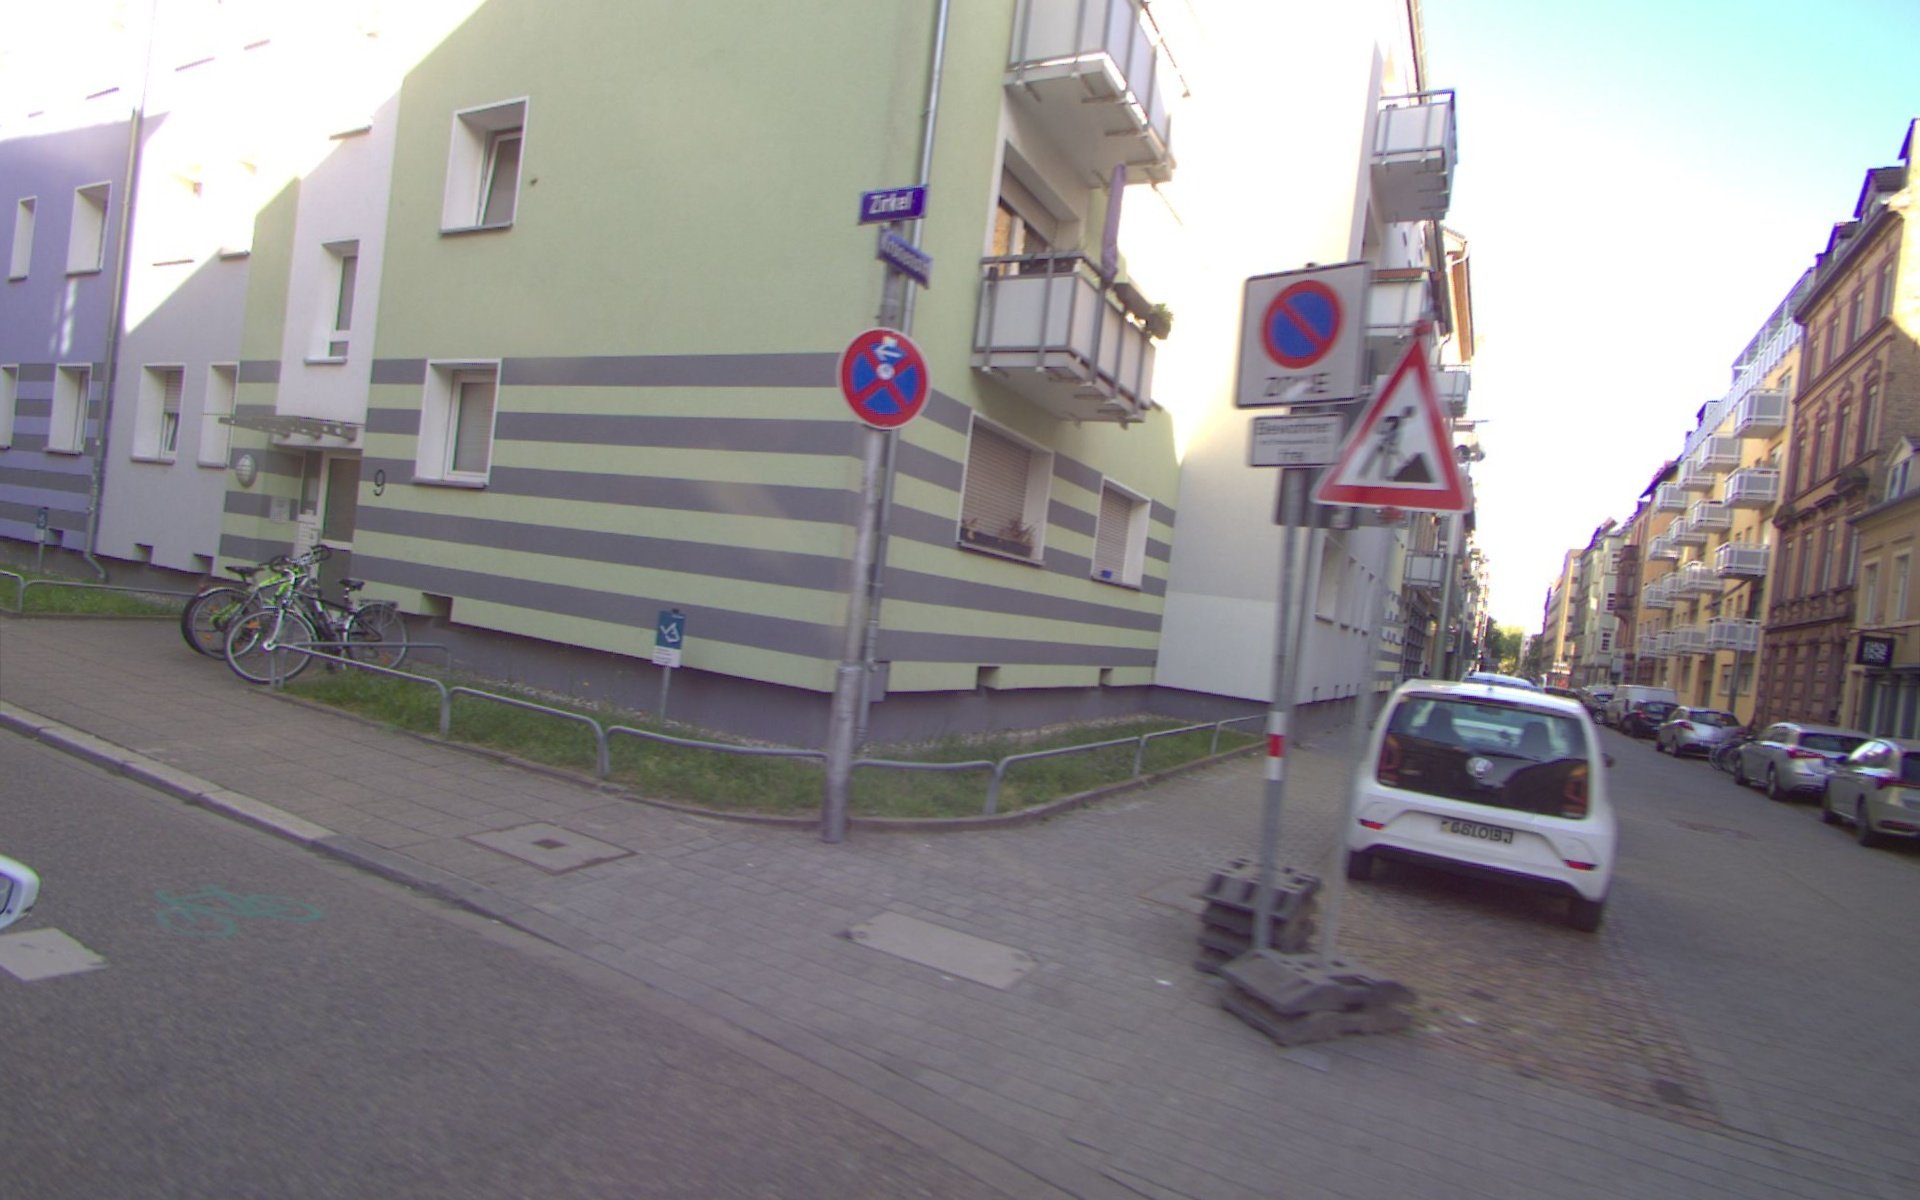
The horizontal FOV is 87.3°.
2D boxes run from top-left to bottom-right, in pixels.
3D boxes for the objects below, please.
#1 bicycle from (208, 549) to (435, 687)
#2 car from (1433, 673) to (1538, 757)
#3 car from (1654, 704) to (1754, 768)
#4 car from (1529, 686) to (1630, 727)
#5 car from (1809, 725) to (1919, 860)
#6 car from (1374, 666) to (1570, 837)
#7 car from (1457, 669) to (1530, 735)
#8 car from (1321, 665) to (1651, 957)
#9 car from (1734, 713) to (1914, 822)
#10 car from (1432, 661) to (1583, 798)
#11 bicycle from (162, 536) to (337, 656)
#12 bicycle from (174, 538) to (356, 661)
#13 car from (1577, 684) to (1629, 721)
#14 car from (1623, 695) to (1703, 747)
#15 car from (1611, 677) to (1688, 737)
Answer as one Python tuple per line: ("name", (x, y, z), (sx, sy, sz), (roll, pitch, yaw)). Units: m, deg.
("bicycle", (-6.067, 0.166, 9.662), (0.542, 1.157, 1.750), (8, 3, 28))
("car", (11.703, 2.535, 22.544), (1.757, 1.447, 4.185), (7, -2, 27))
("car", (21.472, 3.891, 29.176), (1.753, 1.499, 3.964), (5, -3, 30))
("car", (30.159, 5.168, 49.039), (1.759, 1.476, 3.744), (6, -1, -37))
("car", (13.467, 2.678, 14.108), (1.646, 1.500, 4.174), (5, -1, 32))
("car", (6.349, 1.711, 12.414), (1.680, 1.500, 4.218), (7, -1, 29))
("car", (17.129, 3.268, 32.207), (1.758, 1.737, 4.338), (7, -2, 30))
("car", (4.081, 1.374, 7.868), (1.680, 1.500, 3.551), (7, 0, 29))
("car", (16.231, 3.068, 19.128), (1.753, 1.500, 3.961), (6, -1, 30))
("car", (9.249, 2.090, 17.195), (1.757, 1.738, 4.032), (11, 1, 27))
("bicycle", (-7.427, -0.036, 10.596), (0.233, 1.157, 1.605), (7, 3, 20))
("bicycle", (-7.181, -0.006, 10.485), (0.278, 1.157, 1.644), (7, 3, 20))
("car", (36.761, 5.828, 57.625), (2.124, 1.816, 4.649), (5, -1, 30))
("car", (26.636, 4.540, 38.230), (1.990, 1.565, 3.939), (5, -1, 30))
("car", (29.109, 4.568, 42.632), (2.124, 2.163, 4.655), (5, -4, 30))
